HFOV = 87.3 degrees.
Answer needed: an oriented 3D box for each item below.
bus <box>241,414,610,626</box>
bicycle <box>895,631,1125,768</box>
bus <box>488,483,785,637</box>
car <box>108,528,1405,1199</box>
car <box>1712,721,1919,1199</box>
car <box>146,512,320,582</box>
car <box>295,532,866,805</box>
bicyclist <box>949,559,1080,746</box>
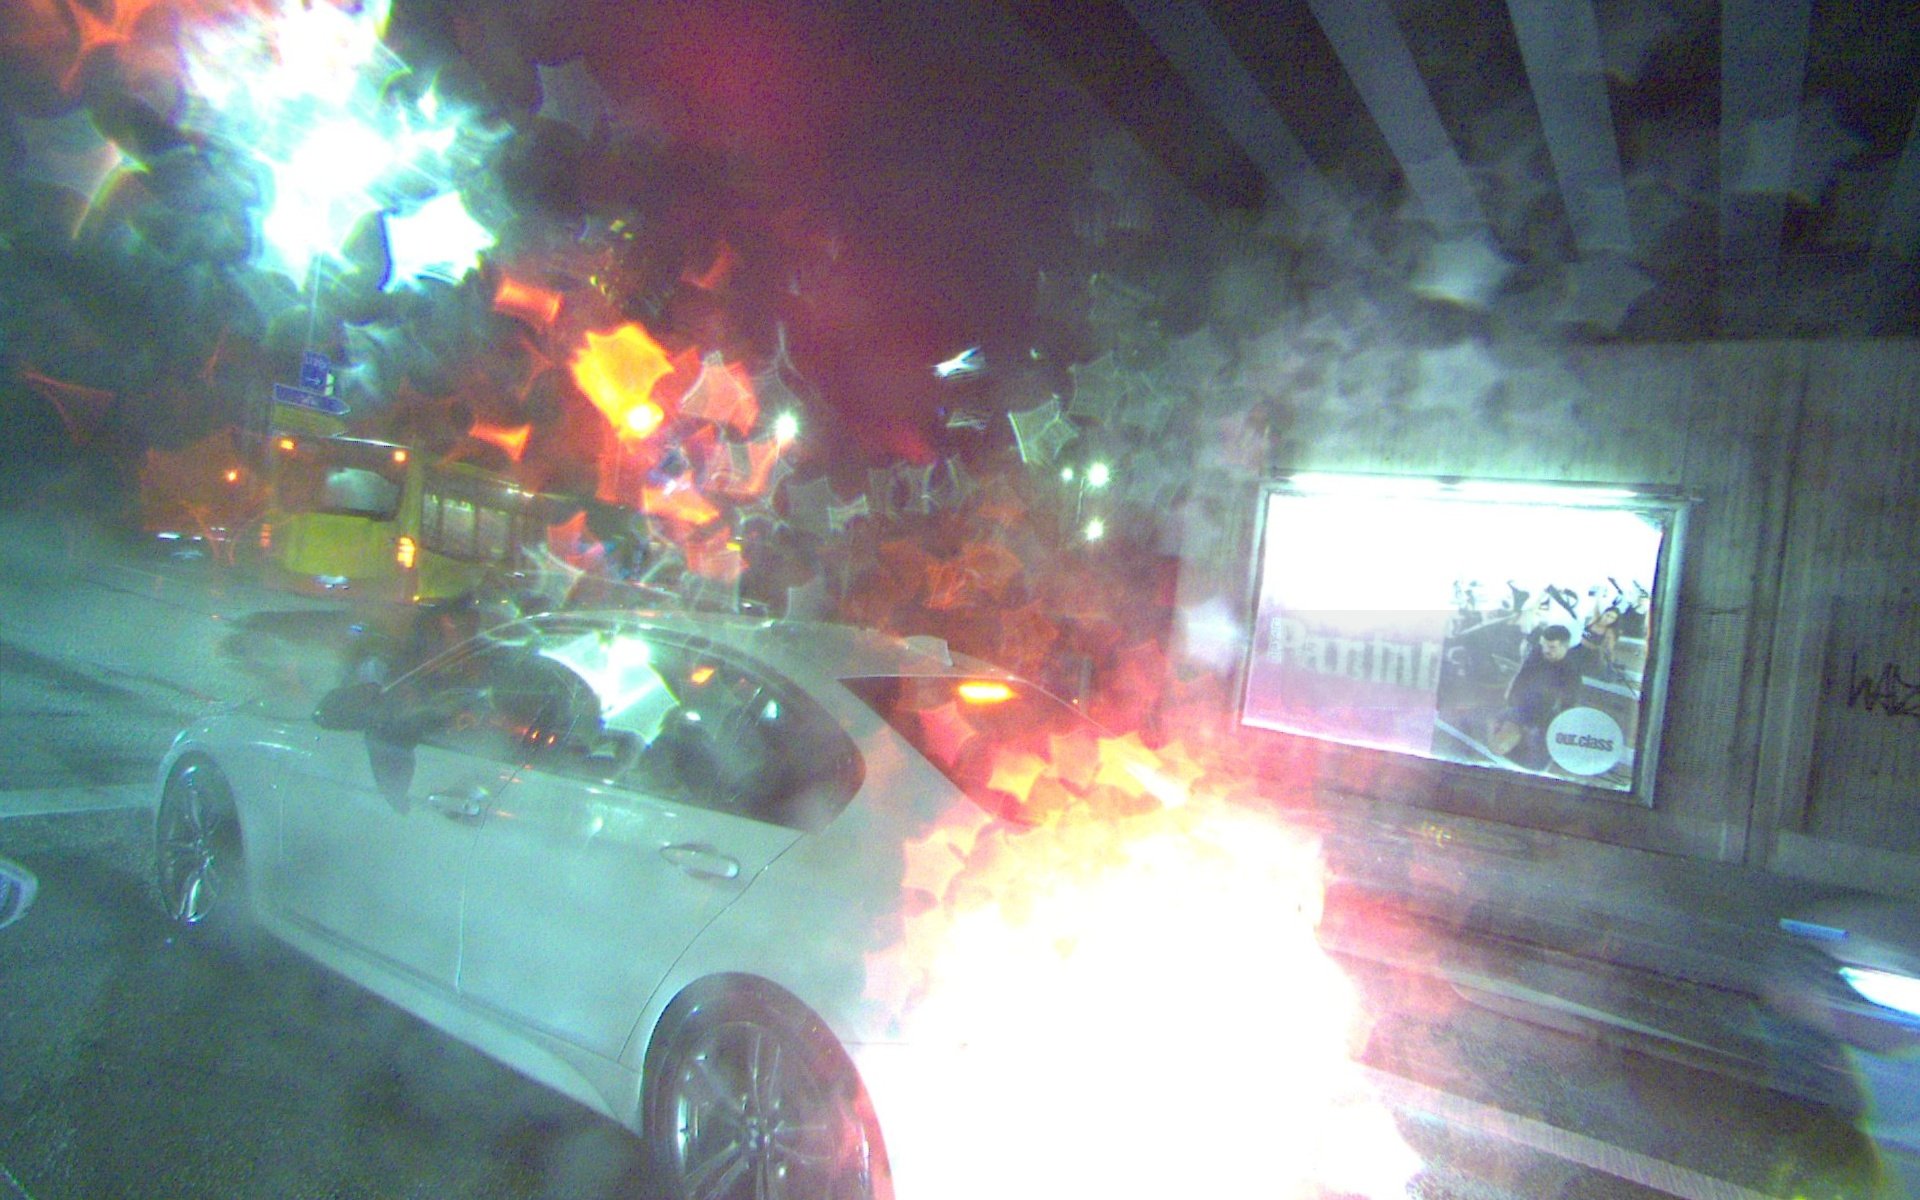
[{"bbox_3d":[-10.568,-1.205,21.614,2.728,3.159,9.763,8,-2,-2],"label":"bus"},{"bbox_3d":[0.496,1.004,10.453,2.171,1.070,0.798,6,-2,32],"label":"bicycle"},{"bbox_3d":[-8.914,-0.849,29.650,2.726,3.159,9.770,7,-2,19],"label":"bus"},{"bbox_3d":[-0.953,0.707,3.494,4.277,1.420,1.720,6,-2,32],"label":"car"},{"bbox_3d":[5.432,1.542,3.161,4.550,1.502,1.852,8,0,29],"label":"car"},{"bbox_3d":[-22.707,-1.622,31.509,4.129,1.504,1.775,9,-3,-43],"label":"car"},{"bbox_3d":[-3.262,0.457,8.445,4.549,1.495,1.842,6,-2,29],"label":"car"},{"bbox_3d":[0.576,0.543,10.455,0.886,1.783,0.798,6,-1,31],"label":"bicyclist"}]
